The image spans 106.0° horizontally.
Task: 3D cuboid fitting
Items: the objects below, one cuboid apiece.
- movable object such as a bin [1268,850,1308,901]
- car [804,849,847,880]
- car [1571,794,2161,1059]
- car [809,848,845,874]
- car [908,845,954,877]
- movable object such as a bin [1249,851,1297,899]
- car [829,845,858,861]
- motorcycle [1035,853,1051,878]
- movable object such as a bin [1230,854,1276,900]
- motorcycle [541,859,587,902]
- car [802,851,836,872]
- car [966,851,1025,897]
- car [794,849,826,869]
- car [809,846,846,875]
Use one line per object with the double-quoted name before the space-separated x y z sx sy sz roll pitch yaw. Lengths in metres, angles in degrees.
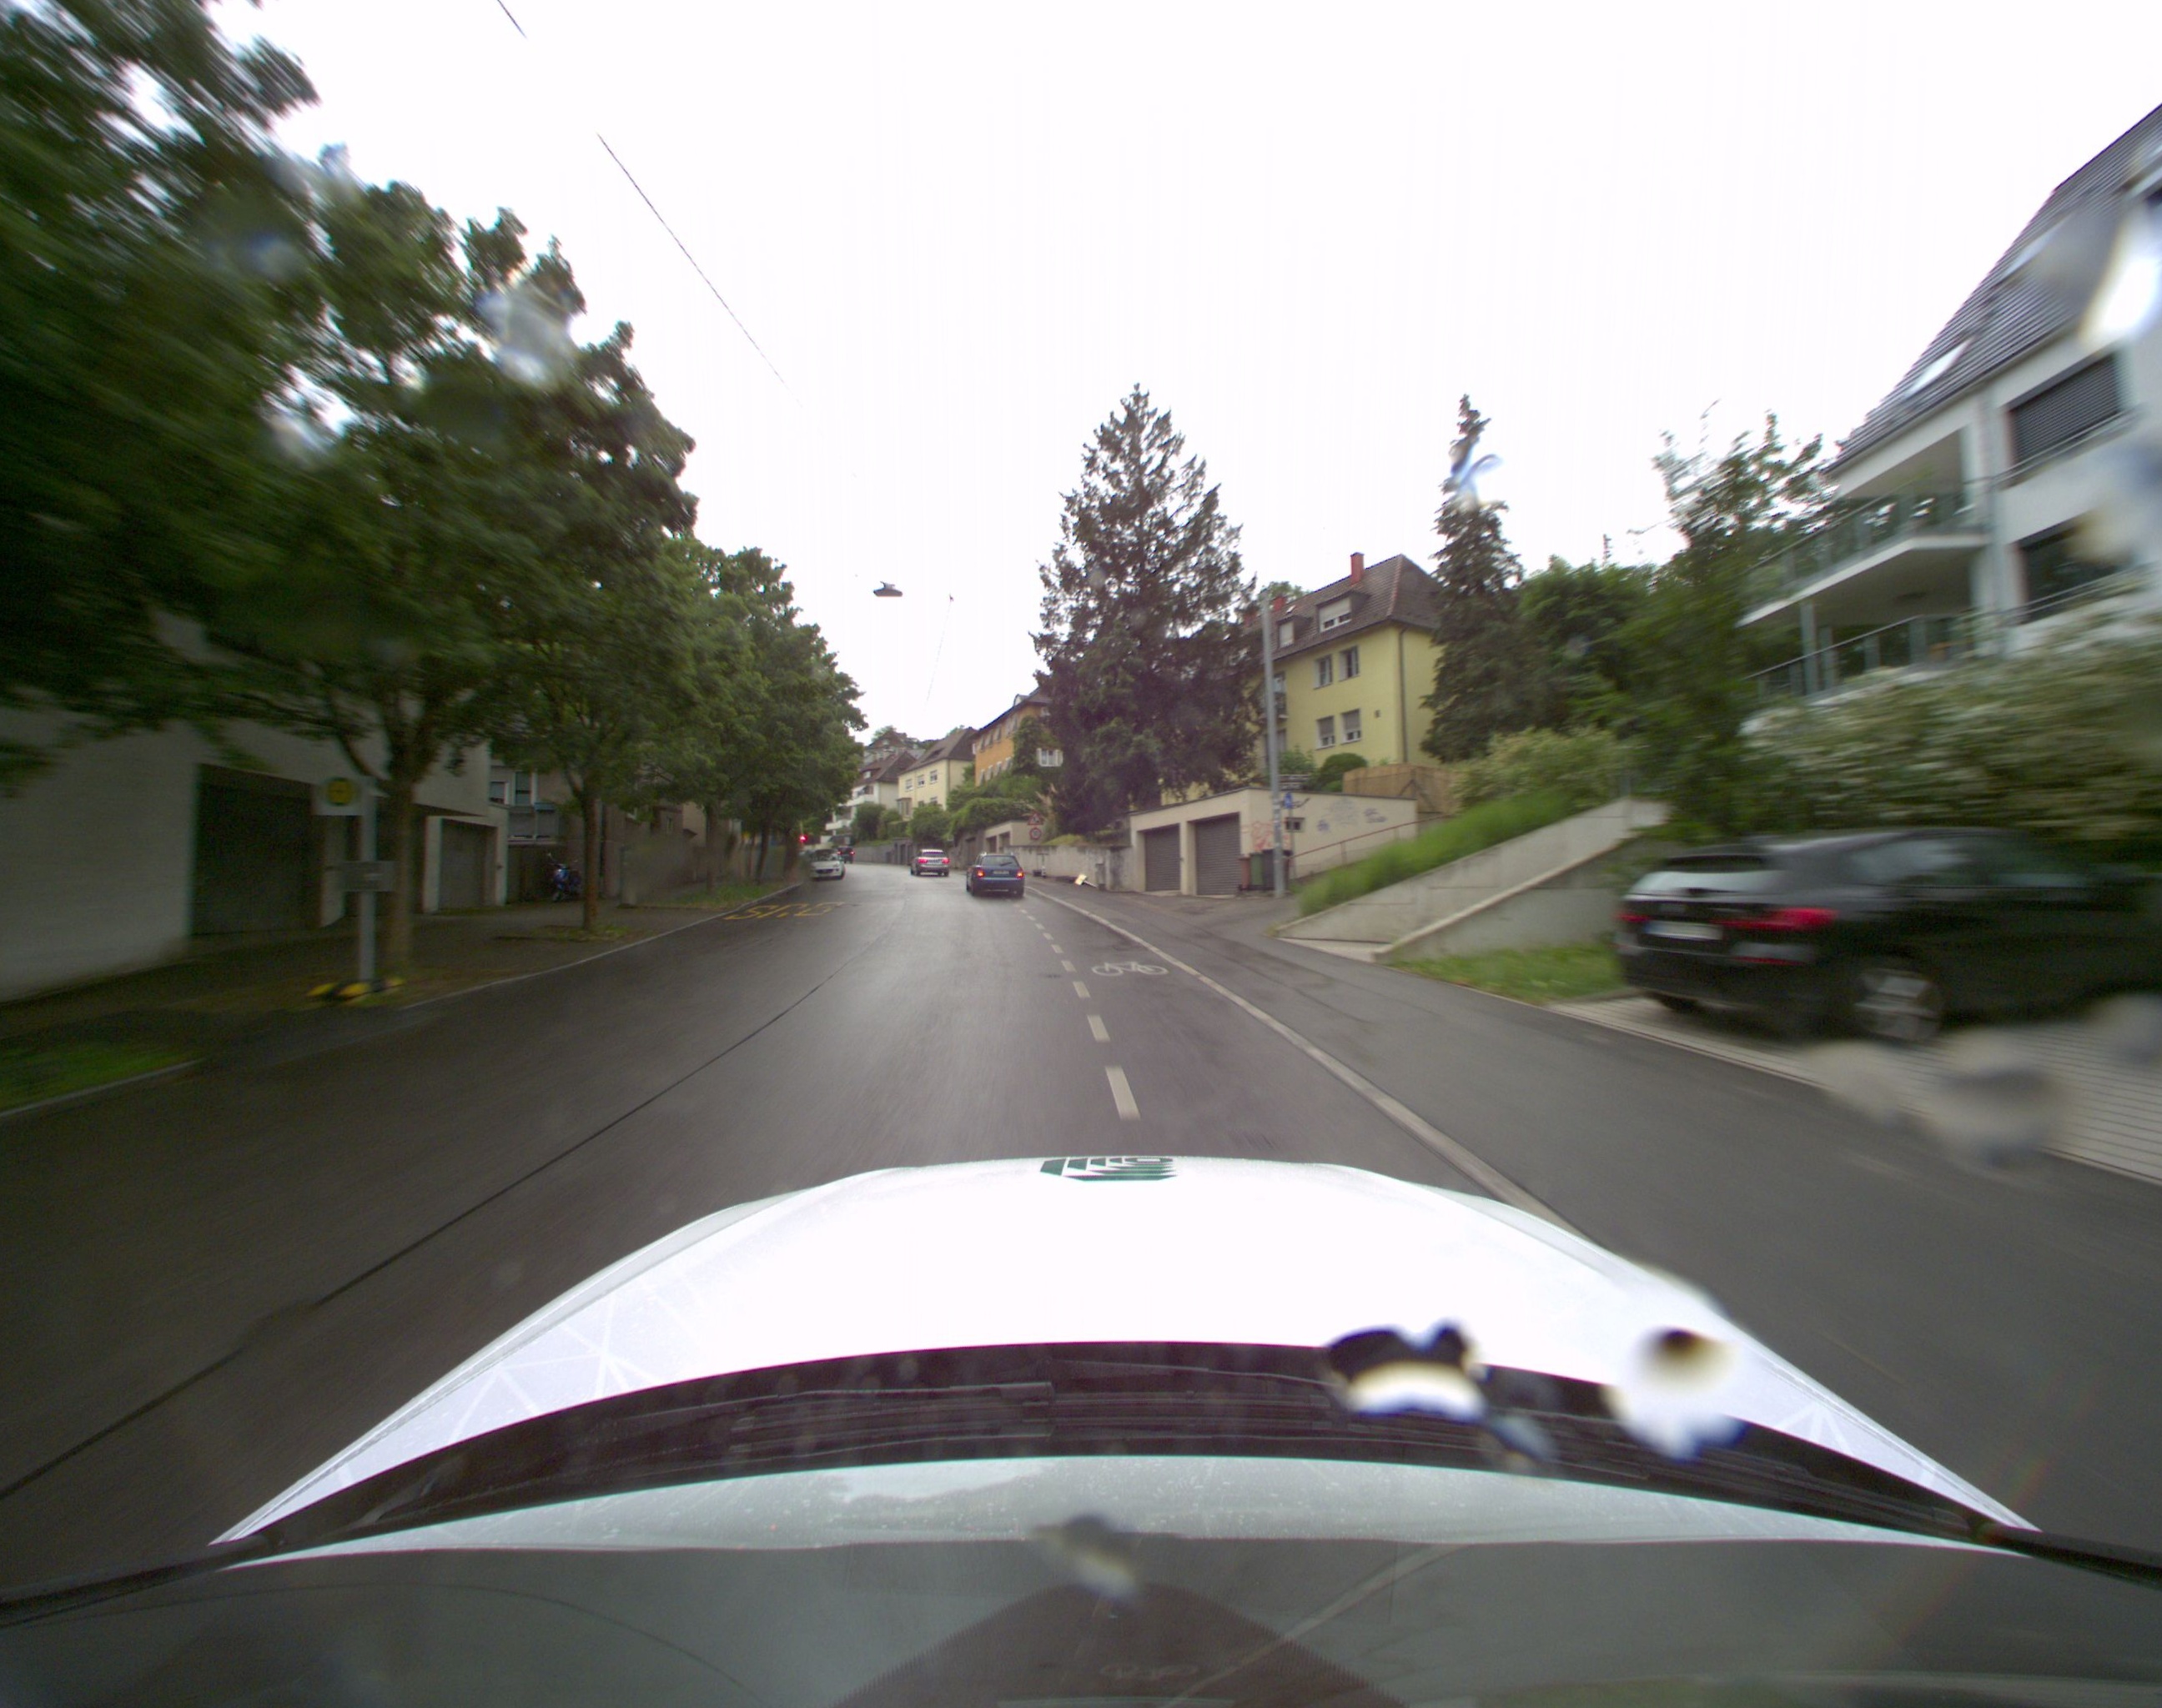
"movable object such as a bin" 5.127 0.528 20.181 0.706 1.223 0.576 -2 0 -26
"car" -13.679 0.526 43.513 2.000 1.530 3.973 -1 0 -20
"car" 6.380 0.431 6.323 4.164 1.508 1.736 -4 -1 -7
"car" -16.695 0.458 53.359 2.001 1.574 3.972 -2 0 -20
"car" -8.468 0.339 45.619 1.956 1.561 4.237 0 2 -19
"movable object such as a bin" 4.898 0.522 20.830 0.863 1.185 0.780 -2 0 -26
"car" -25.689 -0.077 87.957 2.007 1.684 3.959 -1 0 -33
"motorcycle" -1.789 0.513 38.270 0.548 1.131 1.435 -1 0 -9
"movable object such as a bin" 4.552 0.599 21.546 0.863 1.142 0.793 -2 0 -26
"motorcycle" -15.047 0.755 23.734 0.615 1.159 1.691 1 1 -14
"car" -19.355 0.558 60.113 2.002 1.475 3.969 -2 0 -23
"car" -3.033 0.639 28.330 1.853 1.414 4.349 -2 0 -8
"car" -21.969 0.414 66.031 2.003 1.475 3.967 -2 0 -25
"car" -15.038 0.380 48.187 1.884 1.596 3.973 -1 0 -20
